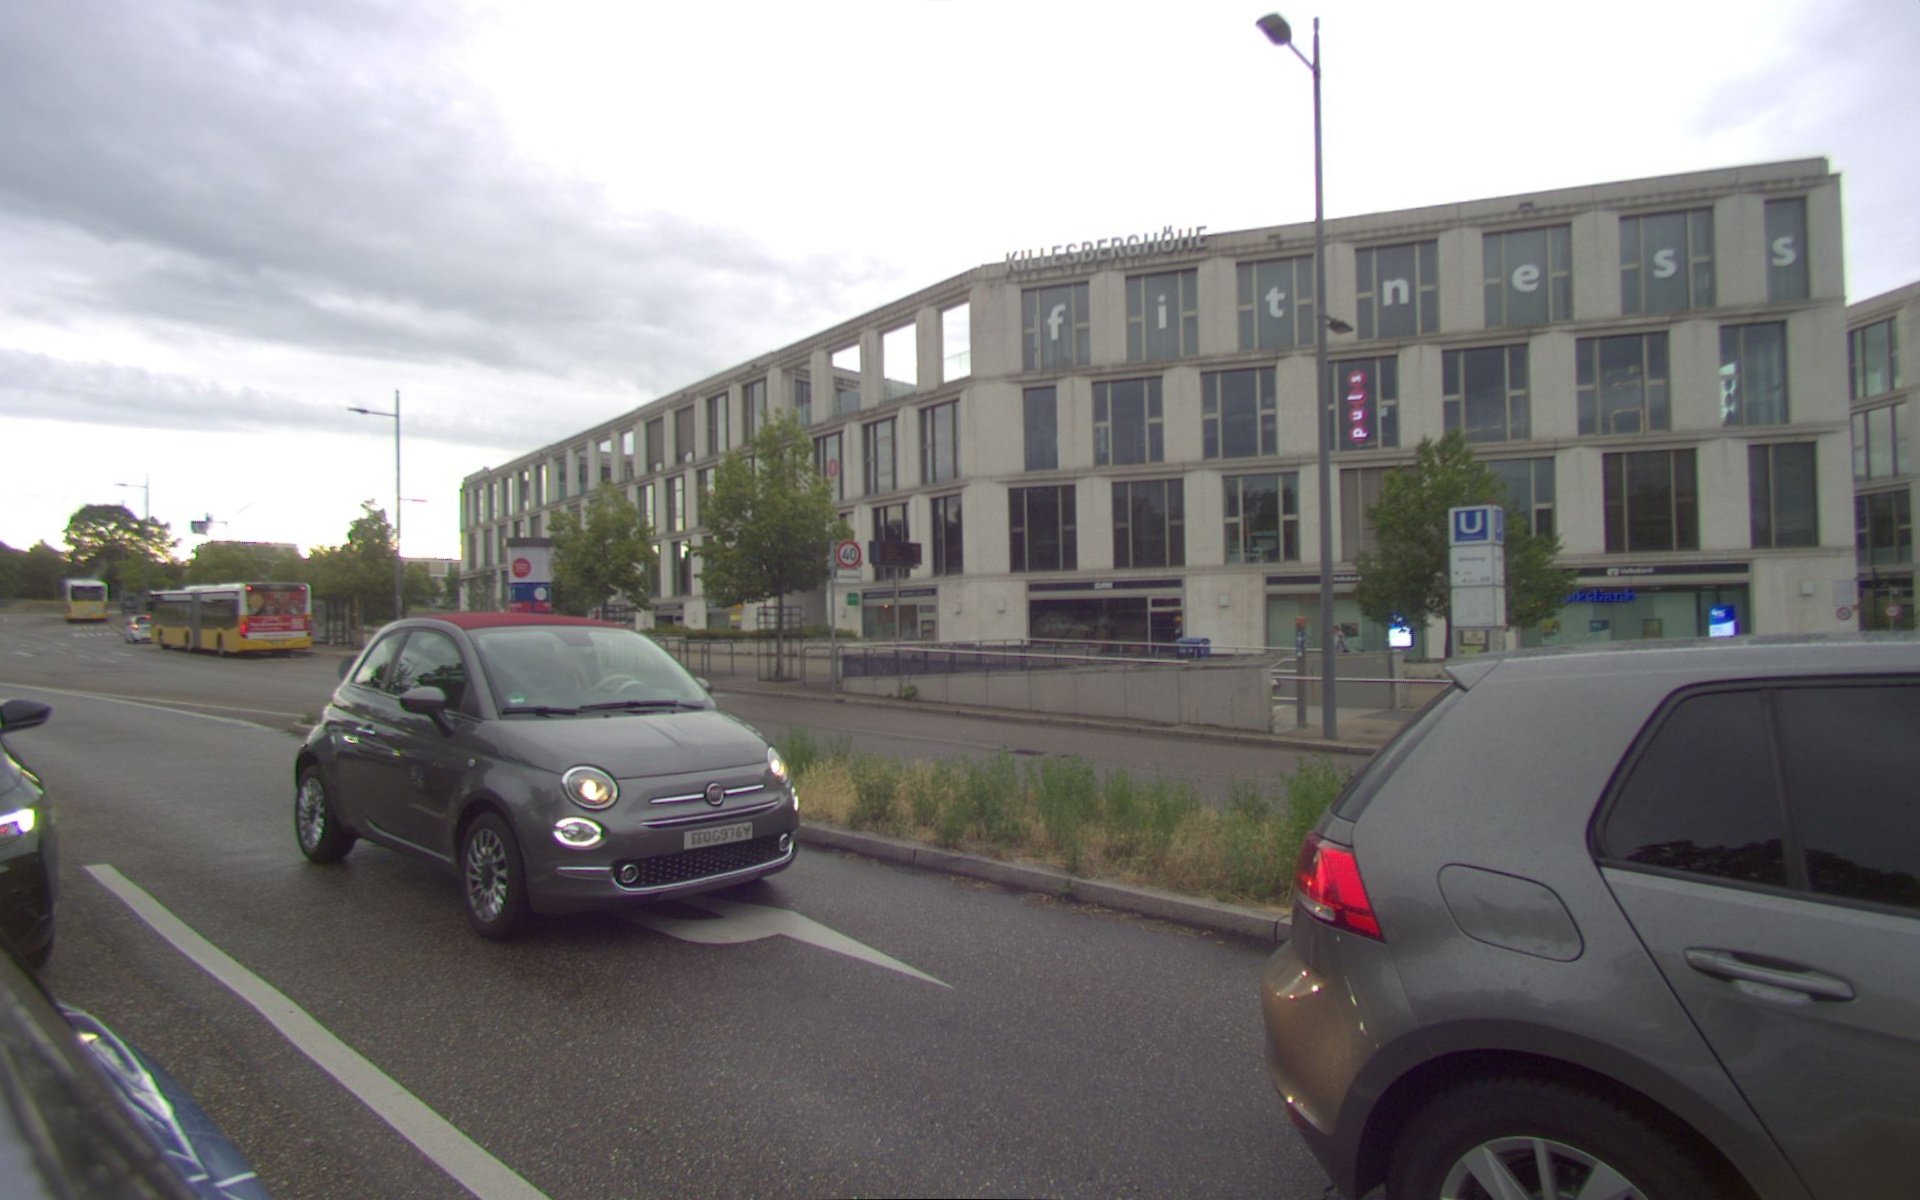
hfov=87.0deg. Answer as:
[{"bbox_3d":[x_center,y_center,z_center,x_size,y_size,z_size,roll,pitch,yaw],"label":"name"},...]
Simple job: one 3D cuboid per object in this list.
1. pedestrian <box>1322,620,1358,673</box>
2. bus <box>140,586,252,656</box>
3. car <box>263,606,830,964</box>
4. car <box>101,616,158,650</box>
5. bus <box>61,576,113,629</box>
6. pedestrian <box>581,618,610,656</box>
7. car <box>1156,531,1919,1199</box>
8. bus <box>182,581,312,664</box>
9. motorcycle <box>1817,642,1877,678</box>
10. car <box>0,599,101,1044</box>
[{"bbox_3d":[11.675,1.413,31.125,0.911,1.617,0.756,-1,-2,31],"label":"pedestrian"},{"bbox_3d":[-38.160,0.991,50.389,9.911,3.205,2.658,-1,0,42],"label":"bus"},{"bbox_3d":[-2.562,0.804,5.961,3.502,1.492,1.611,-1,-2,39],"label":"car"},{"bbox_3d":[-46.967,1.834,57.214,3.998,1.800,1.843,-1,0,41],"label":"car"},{"bbox_3d":[-76.299,0.270,88.697,2.717,4.185,19.383,-1,0,-39],"label":"bus"},{"bbox_3d":[-15.823,1.576,43.934,0.967,1.593,0.869,-1,0,-35],"label":"pedestrian"},{"bbox_3d":[2.648,0.650,1.400,4.374,1.492,1.797,-1,-2,41],"label":"car"},{"bbox_3d":[-31.134,0.921,43.982,9.206,3.236,2.723,-1,0,43],"label":"bus"},{"bbox_3d":[20.403,1.374,23.289,0.517,0.746,1.098,-1,0,9],"label":"motorcycle"},{"bbox_3d":[-5.425,0.765,4.419,4.766,1.476,1.877,-1,0,41],"label":"car"}]
